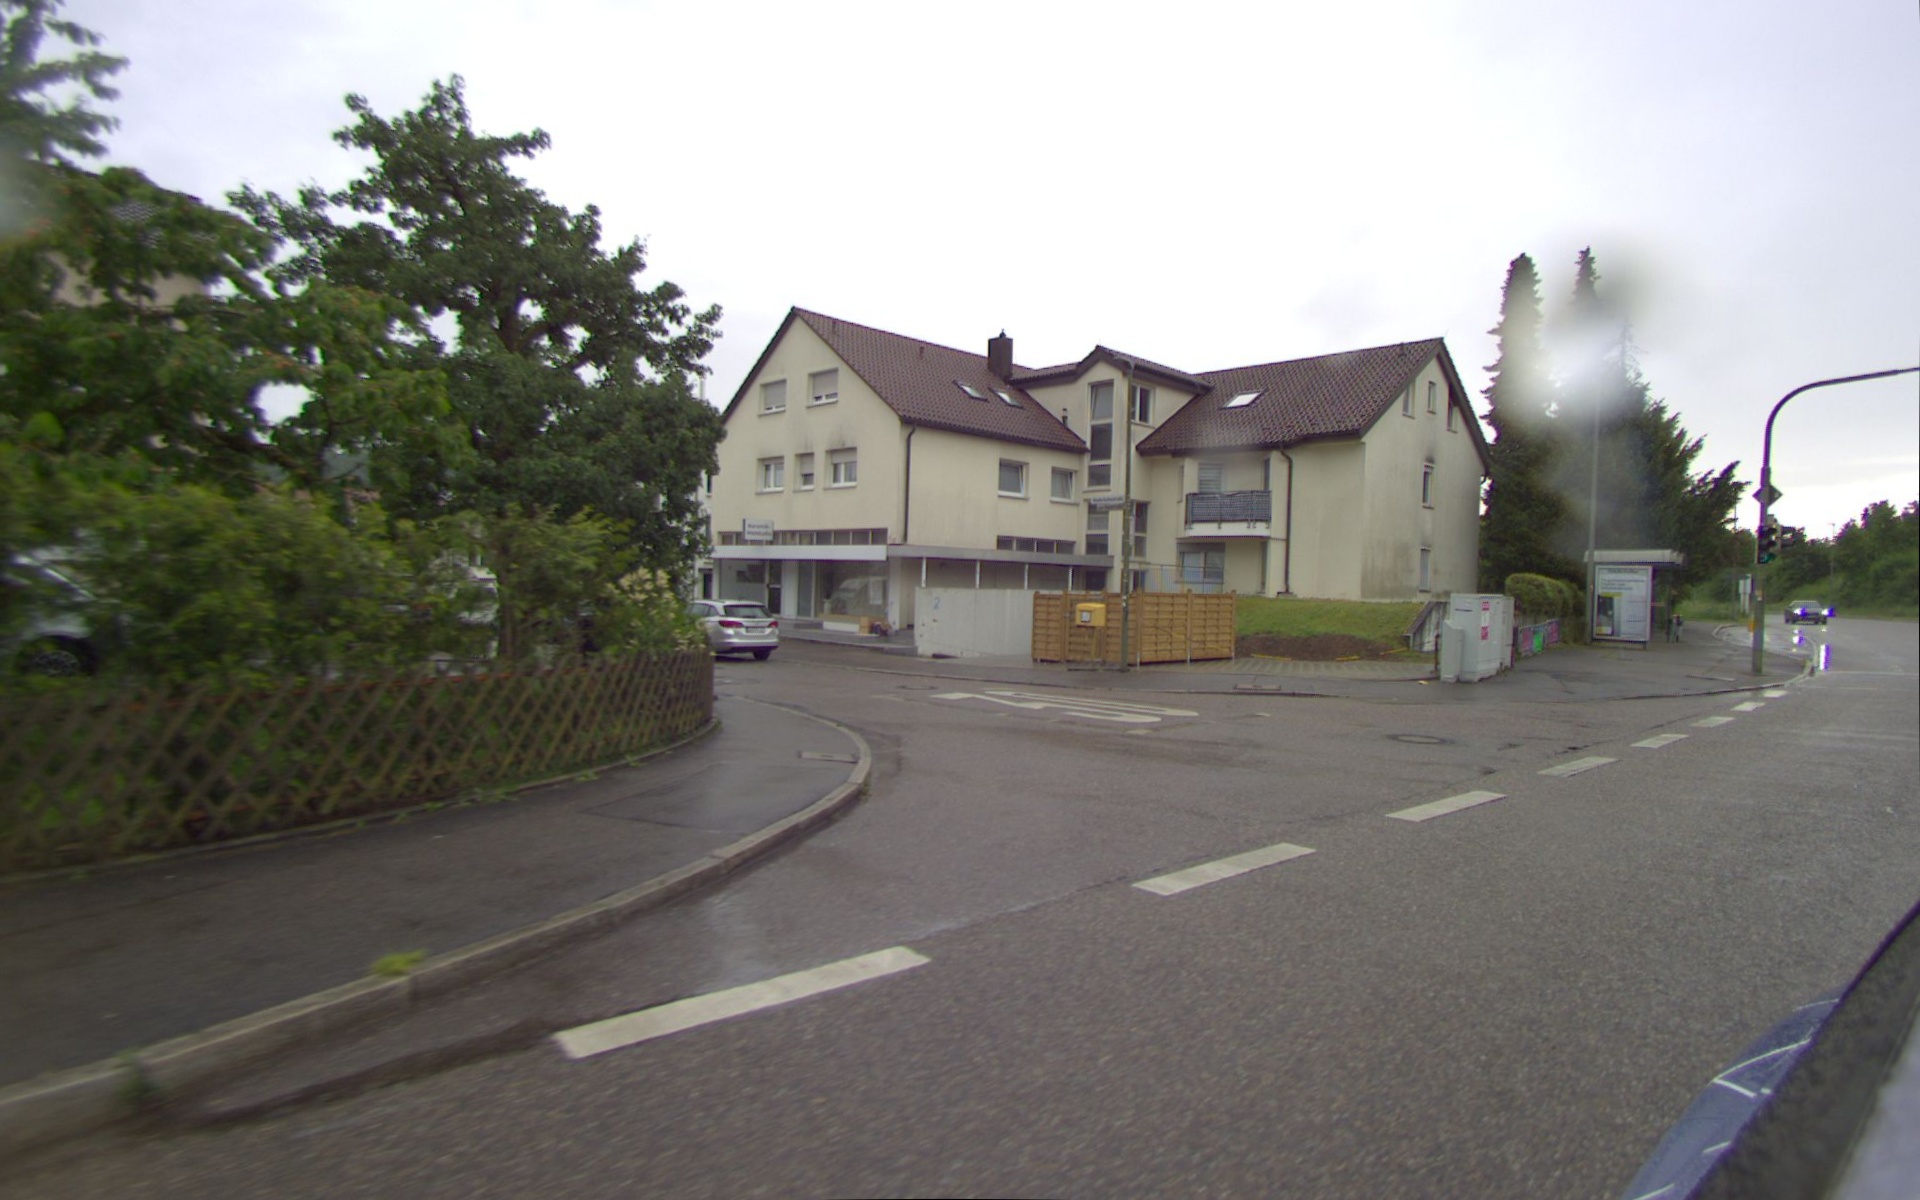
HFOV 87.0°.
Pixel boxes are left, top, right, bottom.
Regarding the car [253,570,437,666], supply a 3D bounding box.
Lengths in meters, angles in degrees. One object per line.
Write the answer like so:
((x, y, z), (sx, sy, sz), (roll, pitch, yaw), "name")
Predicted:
((-13.029, 0.313, 21.398), (3.975, 1.691, 1.870), (4, 2, 35), "car")

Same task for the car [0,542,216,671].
((-13.787, 0.086, 15.598), (3.579, 1.841, 1.657), (0, 0, -43), "car")

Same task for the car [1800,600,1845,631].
((55.499, 0.993, 65.156), (1.990, 1.865, 3.945), (2, 1, 38), "car")

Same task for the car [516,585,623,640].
((-12.608, 0.350, 32.565), (1.790, 1.574, 3.991), (0, 2, -44), "car")

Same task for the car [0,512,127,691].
((-12.999, -0.005, 11.645), (1.946, 2.110, 5.101), (0, 0, 45), "car")

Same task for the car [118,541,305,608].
((-25.007, -0.798, 33.944), (1.944, 2.079, 4.761), (0, 0, 43), "car")

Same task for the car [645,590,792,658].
((-6.098, 0.533, 25.294), (1.790, 1.473, 3.991), (0, 2, -44), "car")
